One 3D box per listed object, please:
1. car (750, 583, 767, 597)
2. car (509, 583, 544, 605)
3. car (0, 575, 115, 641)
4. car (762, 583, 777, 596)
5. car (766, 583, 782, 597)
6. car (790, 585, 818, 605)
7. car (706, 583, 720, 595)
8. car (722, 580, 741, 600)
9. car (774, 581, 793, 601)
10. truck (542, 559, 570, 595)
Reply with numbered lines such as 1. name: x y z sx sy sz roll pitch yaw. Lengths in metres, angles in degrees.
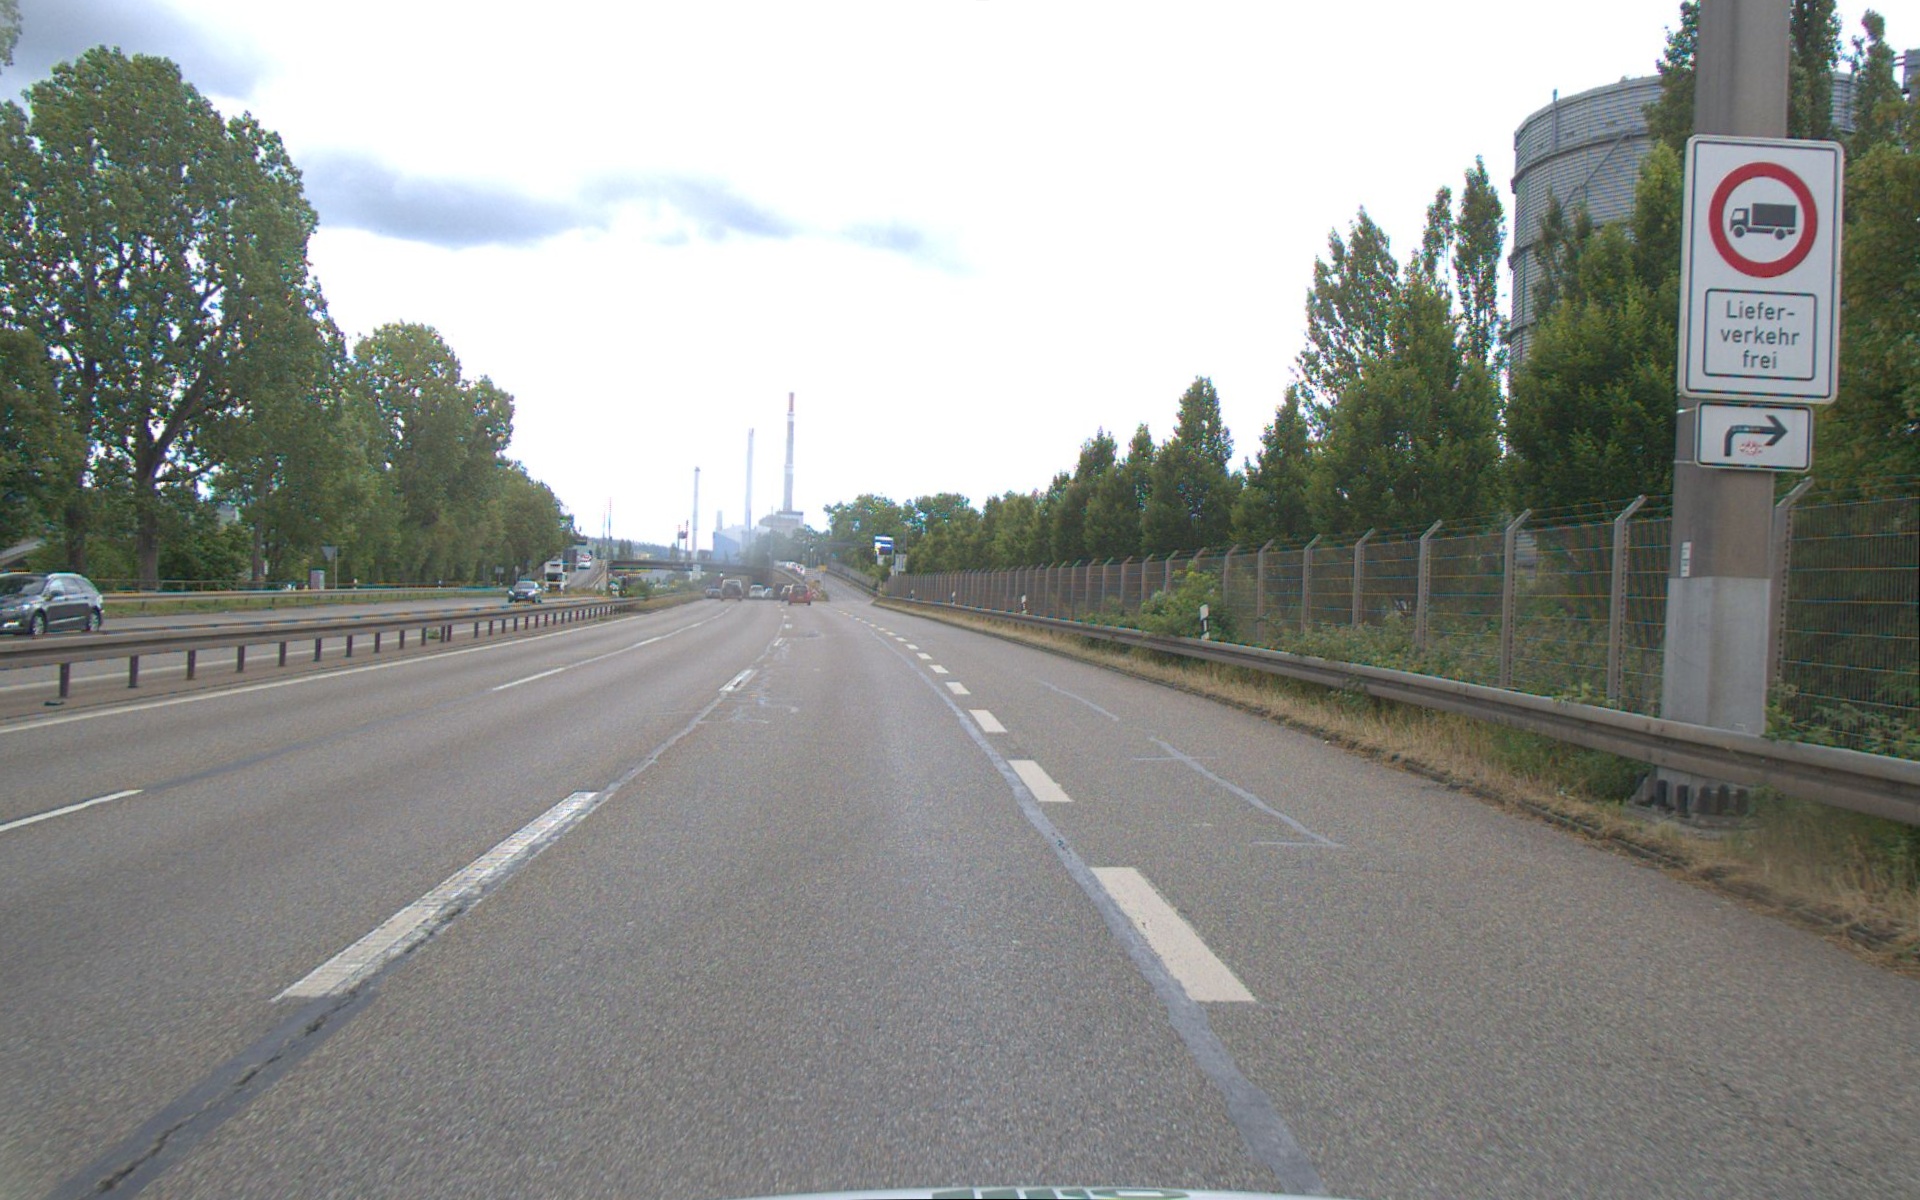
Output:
1. car: -21.217 -1.055 174.115 1.666 1.414 4.390 1 0 -8
2. car: -29.217 -0.442 111.530 1.665 1.438 4.631 0 1 -7
3. car: -21.498 0.150 38.469 1.664 1.438 4.633 0 1 -5
4. car: -24.525 -1.363 212.721 1.667 1.582 4.387 1 0 -11
5. car: -21.136 -1.170 187.915 1.666 1.582 4.389 1 0 -9
6. car: -11.733 -0.416 124.141 1.937 1.448 4.893 1 0 -7
7. car: -35.078 -1.564 234.967 1.667 1.772 4.381 1 1 -11
8. car: -20.597 -0.893 149.334 1.666 1.772 3.993 1 0 -8
9. car: -16.046 -0.856 150.221 1.665 1.772 4.387 1 0 -7
10. truck: -51.105 -2.926 209.534 2.838 4.237 14.616 3 0 -12
